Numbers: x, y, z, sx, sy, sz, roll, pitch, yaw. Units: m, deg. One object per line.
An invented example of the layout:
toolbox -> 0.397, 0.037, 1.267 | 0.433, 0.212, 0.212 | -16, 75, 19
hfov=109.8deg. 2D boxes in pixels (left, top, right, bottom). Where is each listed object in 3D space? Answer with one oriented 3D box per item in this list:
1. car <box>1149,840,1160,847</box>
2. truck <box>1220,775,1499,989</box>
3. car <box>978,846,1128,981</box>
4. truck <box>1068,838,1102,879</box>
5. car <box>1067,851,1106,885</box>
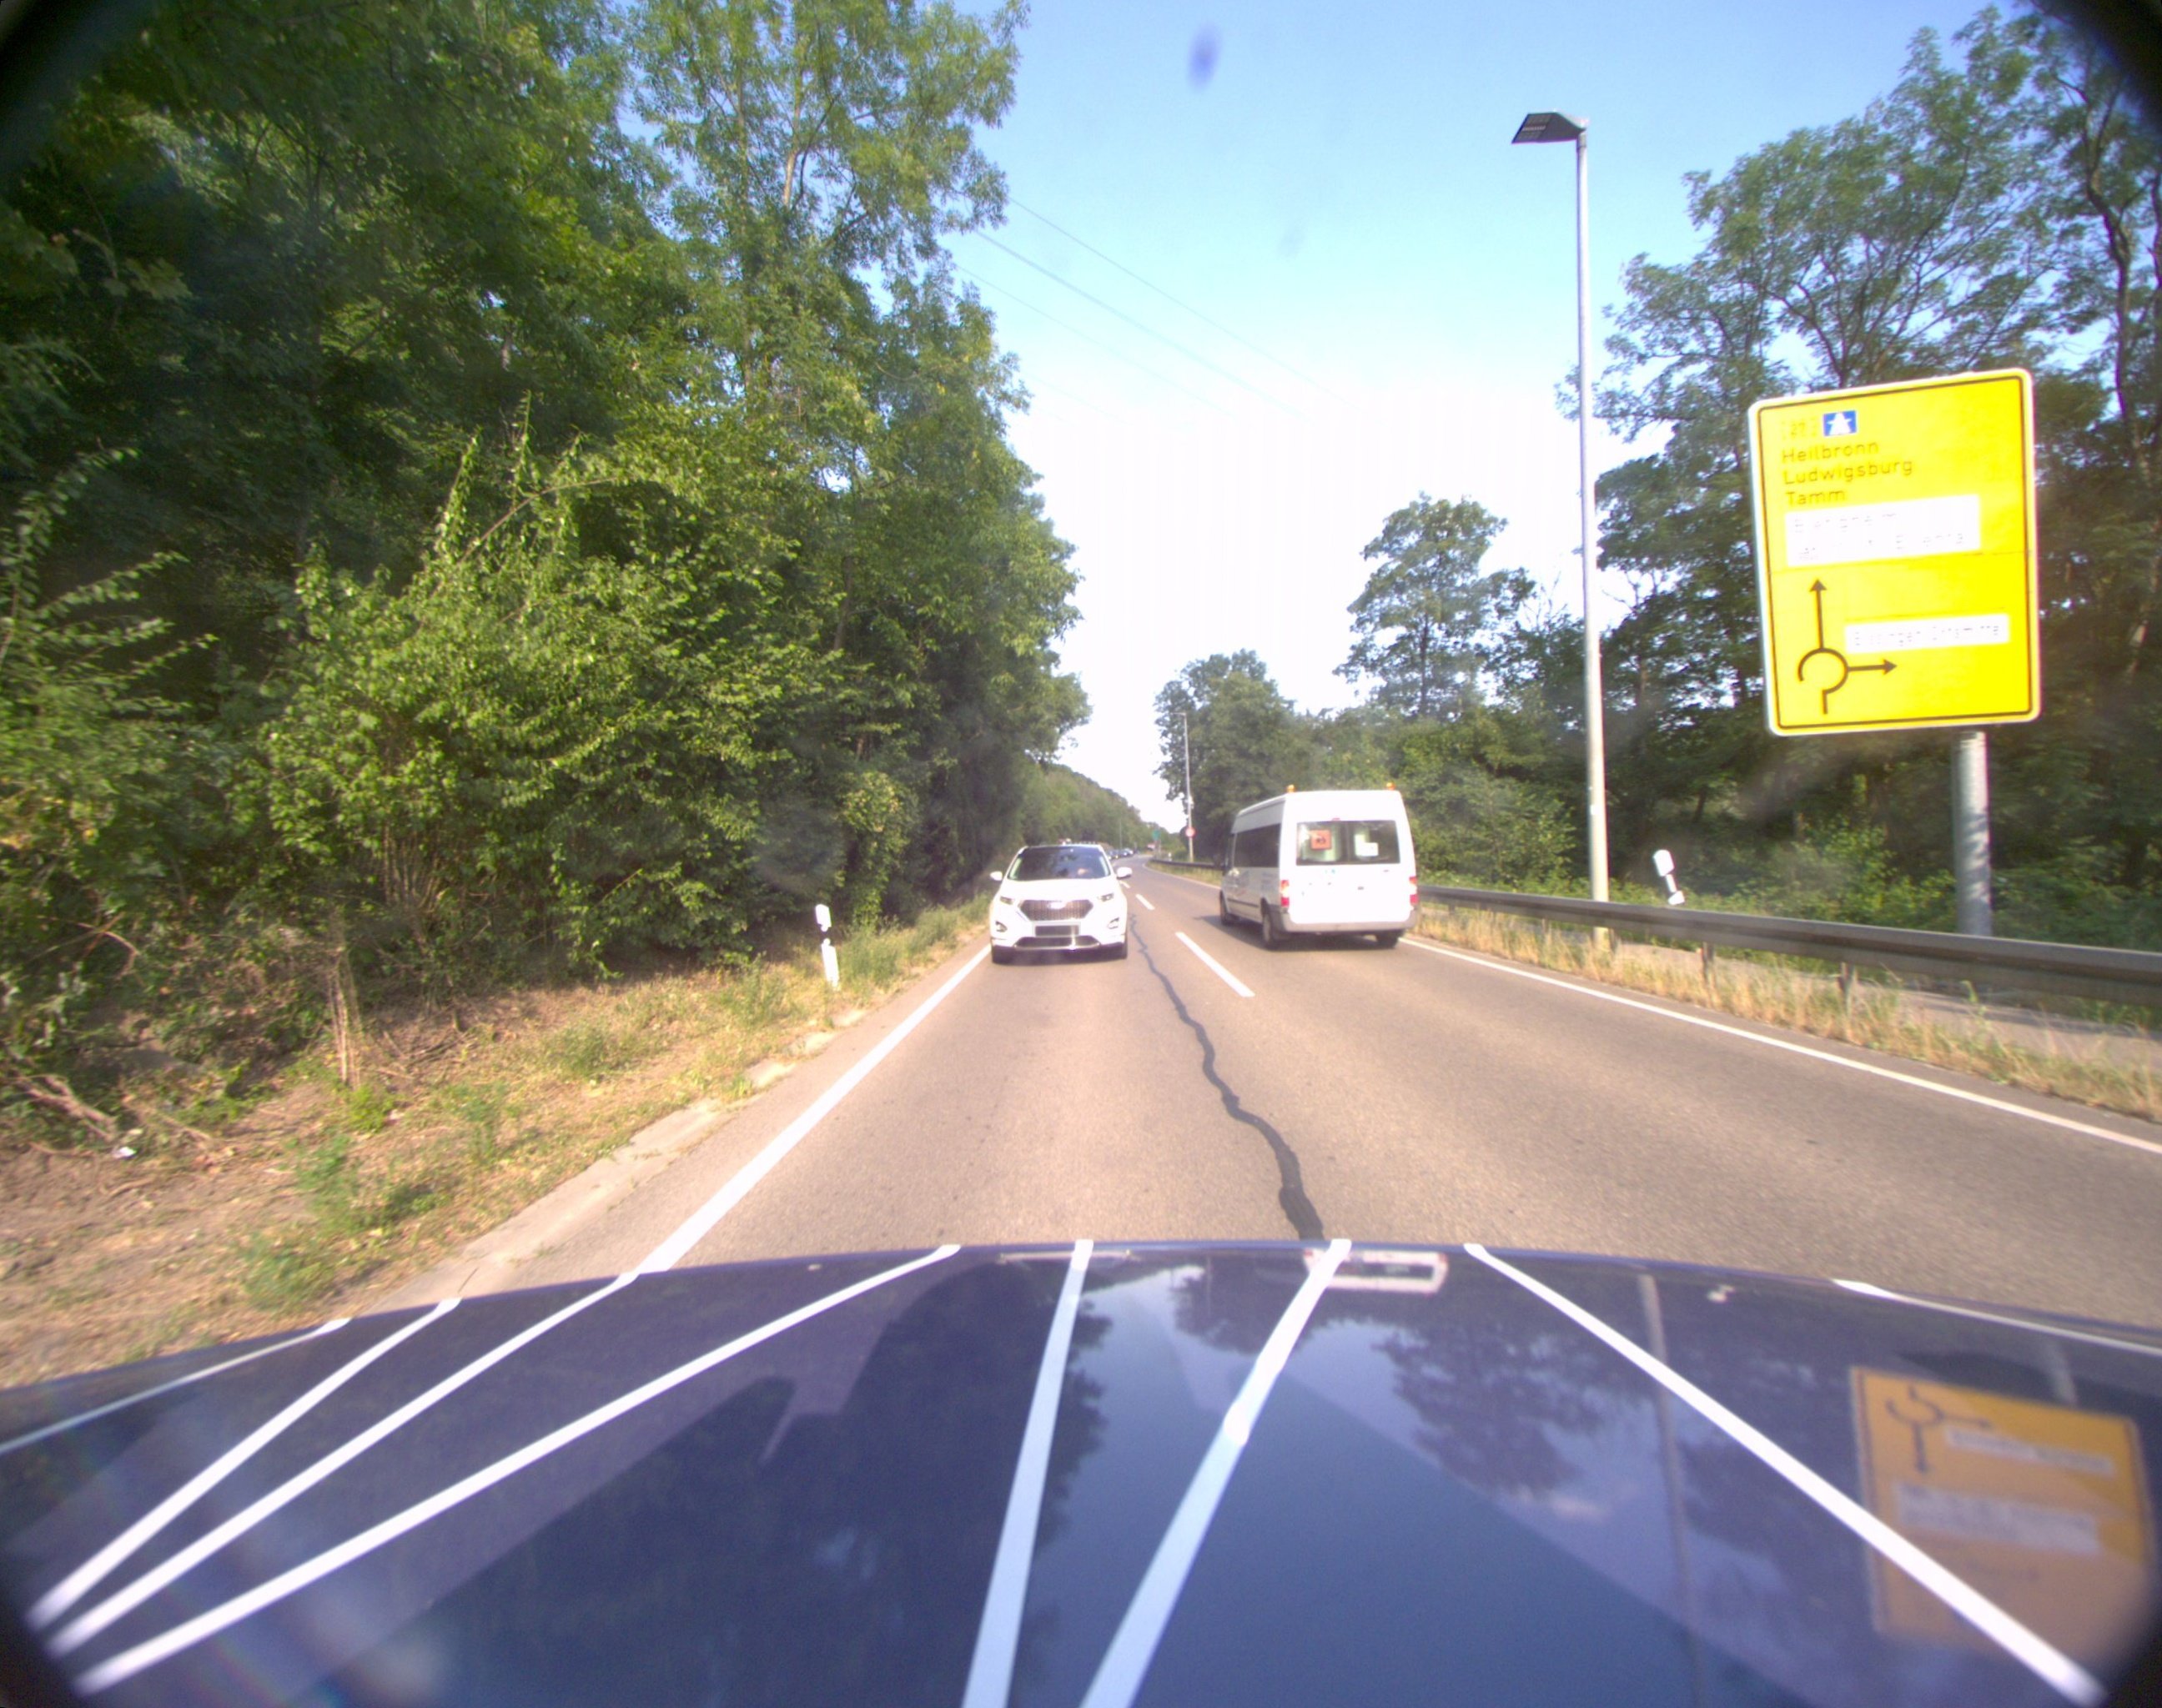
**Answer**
car -> 19.163, -2.839, 198.584 | 1.996, 1.697, 4.004 | -2, 1, 18
truck -> 3.685, 0.293, 11.519 | 2.063, 2.371, 5.872 | -1, 1, 0
car -> -0.331, 0.753, 11.952 | 1.894, 1.691, 4.136 | -2, 1, 1
truck -> 0.287, 0.232, 46.733 | 1.894, 2.334, 5.273 | -2, 1, 1
car -> 0.288, 0.619, 36.027 | 1.704, 1.477, 4.136 | -2, 1, 1
